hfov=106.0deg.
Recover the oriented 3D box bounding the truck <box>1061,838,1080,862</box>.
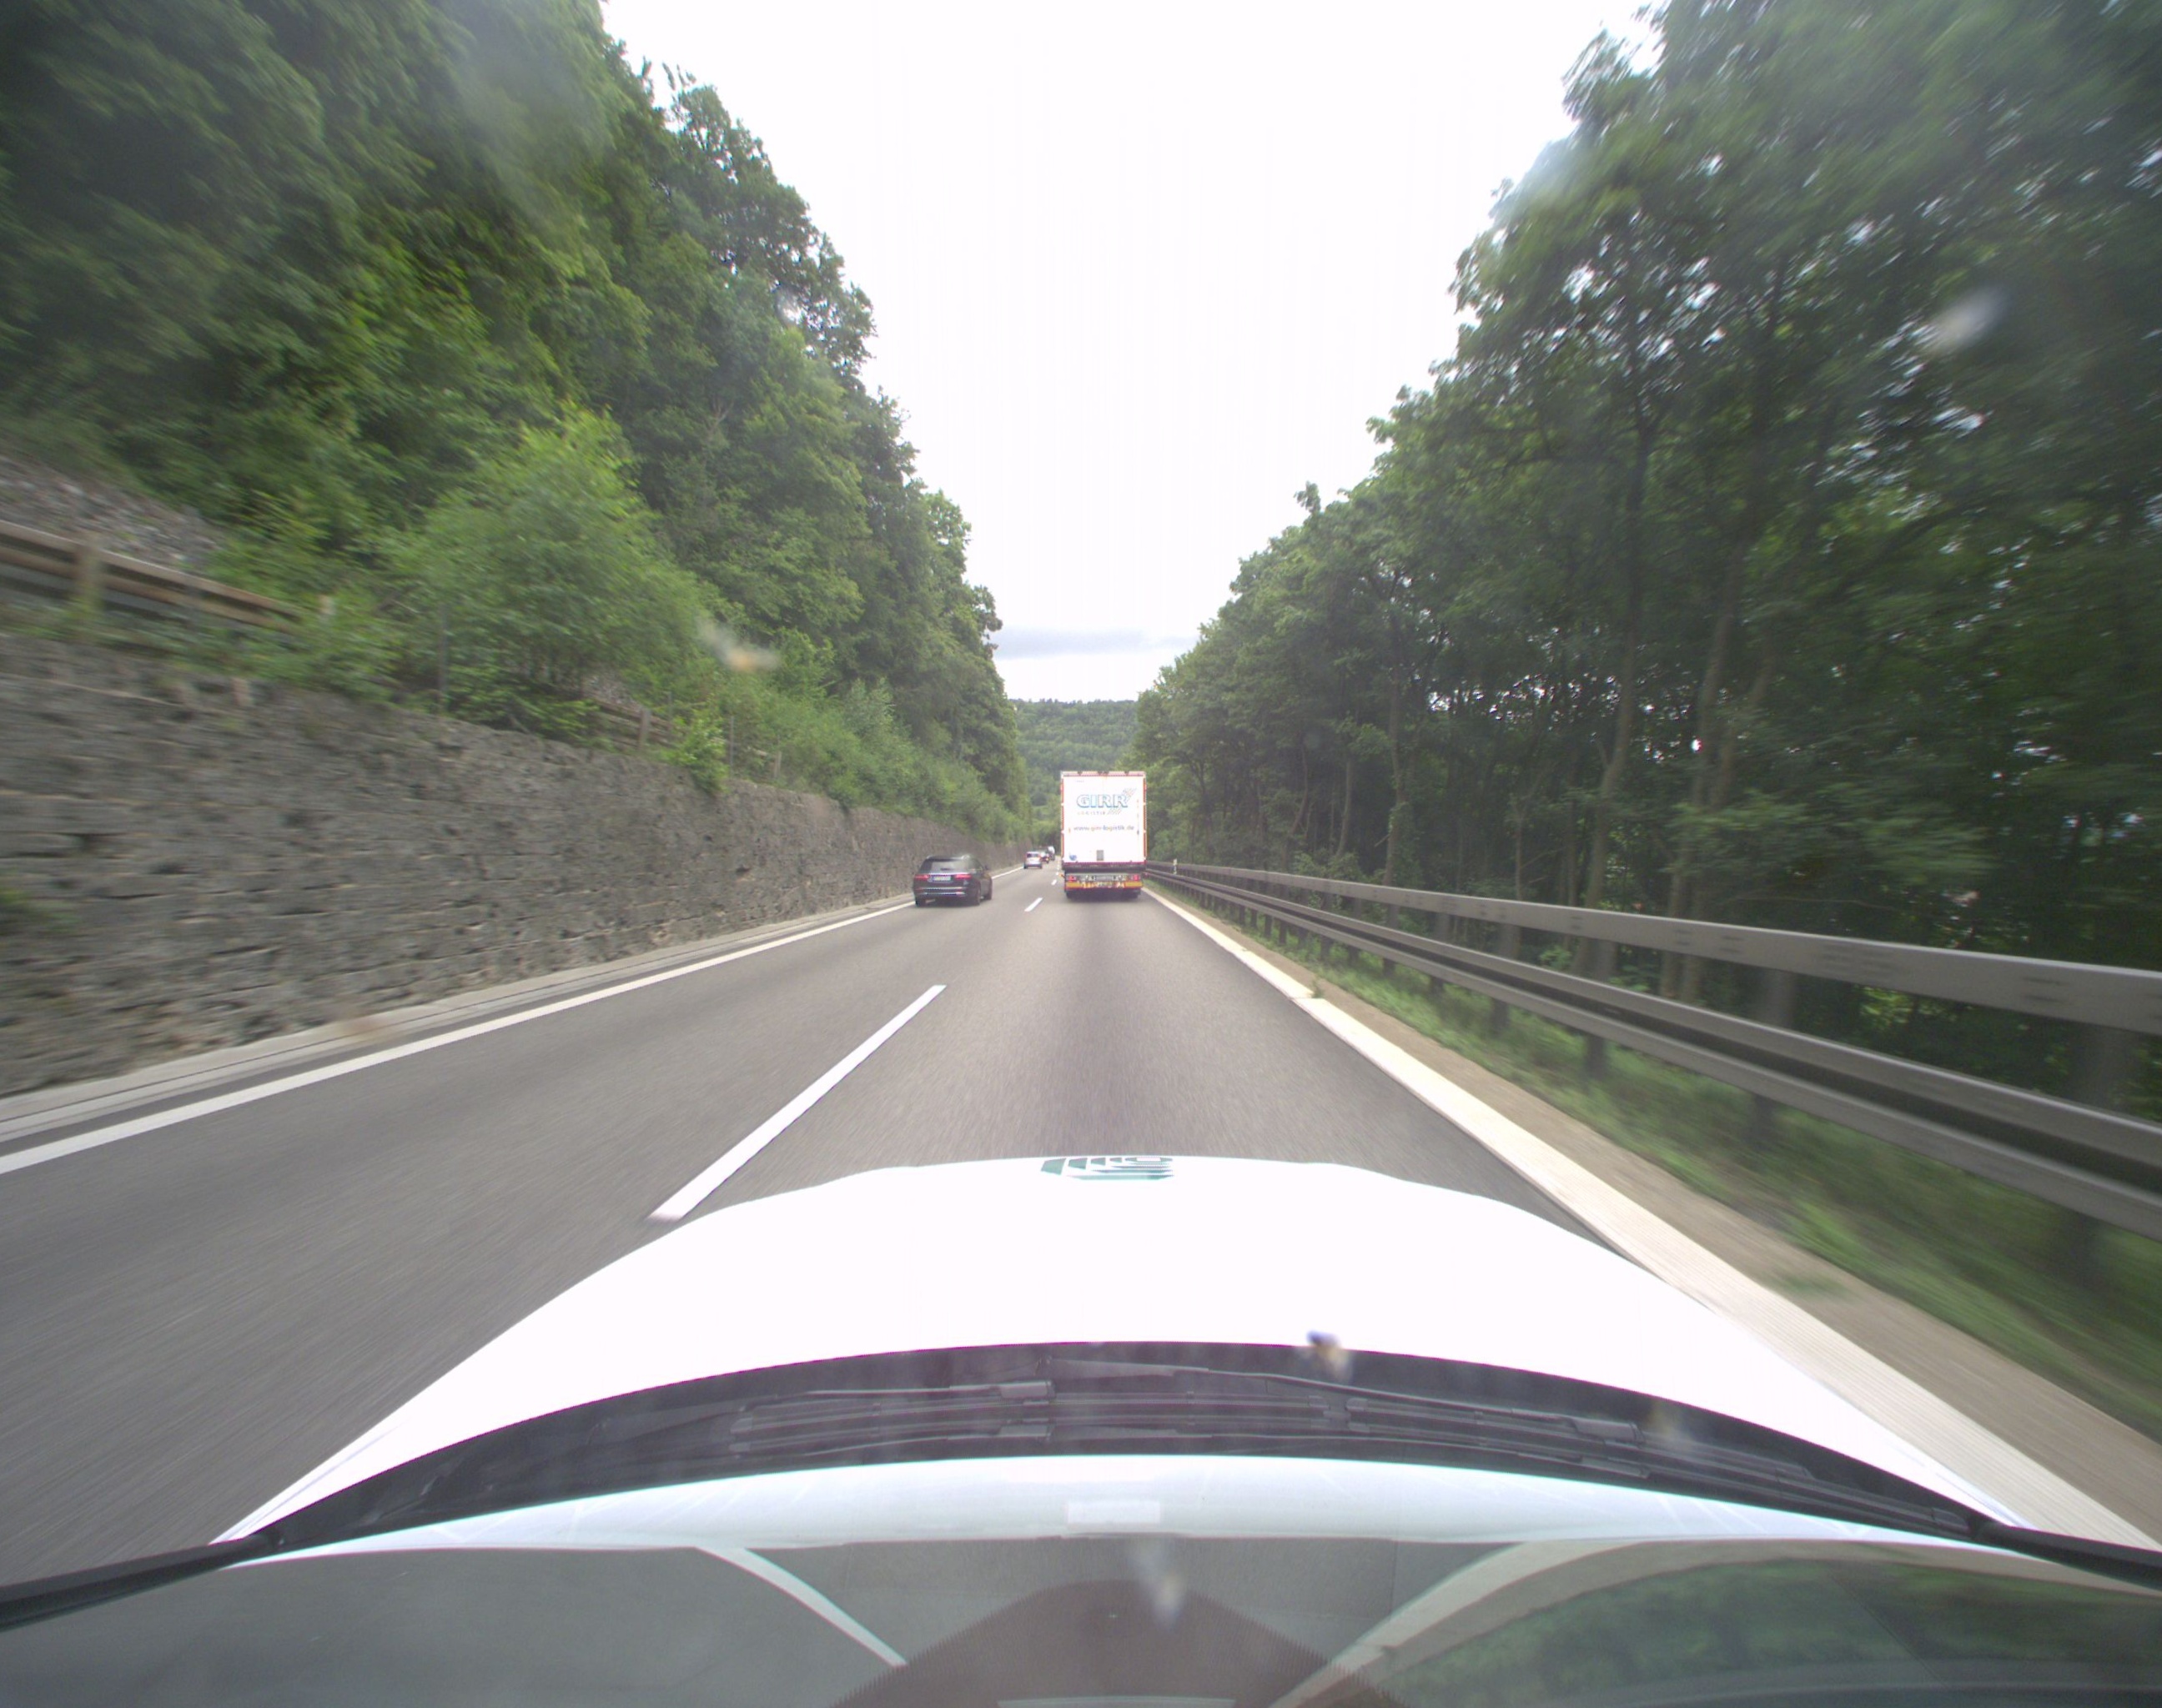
[{"bbox_3d":[-1.779,-0.697,140.871,3.060,3.877,8.453,2,0,-1],"label":"truck"}]

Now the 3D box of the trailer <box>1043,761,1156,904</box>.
[{"bbox_3d":[0.542,-0.673,28.712,3.123,4.042,9.438,3,0,0],"label":"trailer"}]

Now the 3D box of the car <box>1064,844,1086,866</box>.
[{"bbox_3d":[-0.566,0.114,78.507,1.987,2.014,4.333,2,0,0],"label":"car"}]

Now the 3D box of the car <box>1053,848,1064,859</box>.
[{"bbox_3d":[-4.499,-0.047,162.568,1.988,2.014,3.997,2,0,-2],"label":"car"}]

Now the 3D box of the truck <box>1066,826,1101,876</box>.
[{"bbox_3d":[0.133,-0.219,67.052,2.229,3.804,6.813,2,0,-4],"label":"truck"}]

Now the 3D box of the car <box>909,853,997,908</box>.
[{"bbox_3d":[-3.765,0.726,24.825,1.754,1.463,5.124,0,0,1],"label":"car"}]

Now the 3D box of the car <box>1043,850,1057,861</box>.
[{"bbox_3d":[-5.345,0.235,140.314,2.011,1.914,5.563,2,0,0],"label":"car"}]

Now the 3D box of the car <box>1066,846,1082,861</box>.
[{"bbox_3d":[-1.060,-0.071,116.849,1.989,2.014,3.995,2,0,-3],"label":"car"}]

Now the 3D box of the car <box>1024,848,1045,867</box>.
[{"bbox_3d":[-4.426,0.301,77.680,1.628,1.726,4.345,1,0,1],"label":"car"}]

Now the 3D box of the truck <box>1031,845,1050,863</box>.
[{"bbox_3d":[-5.487,-0.049,110.690,2.343,2.274,6.843,2,0,-2],"label":"truck"}]
